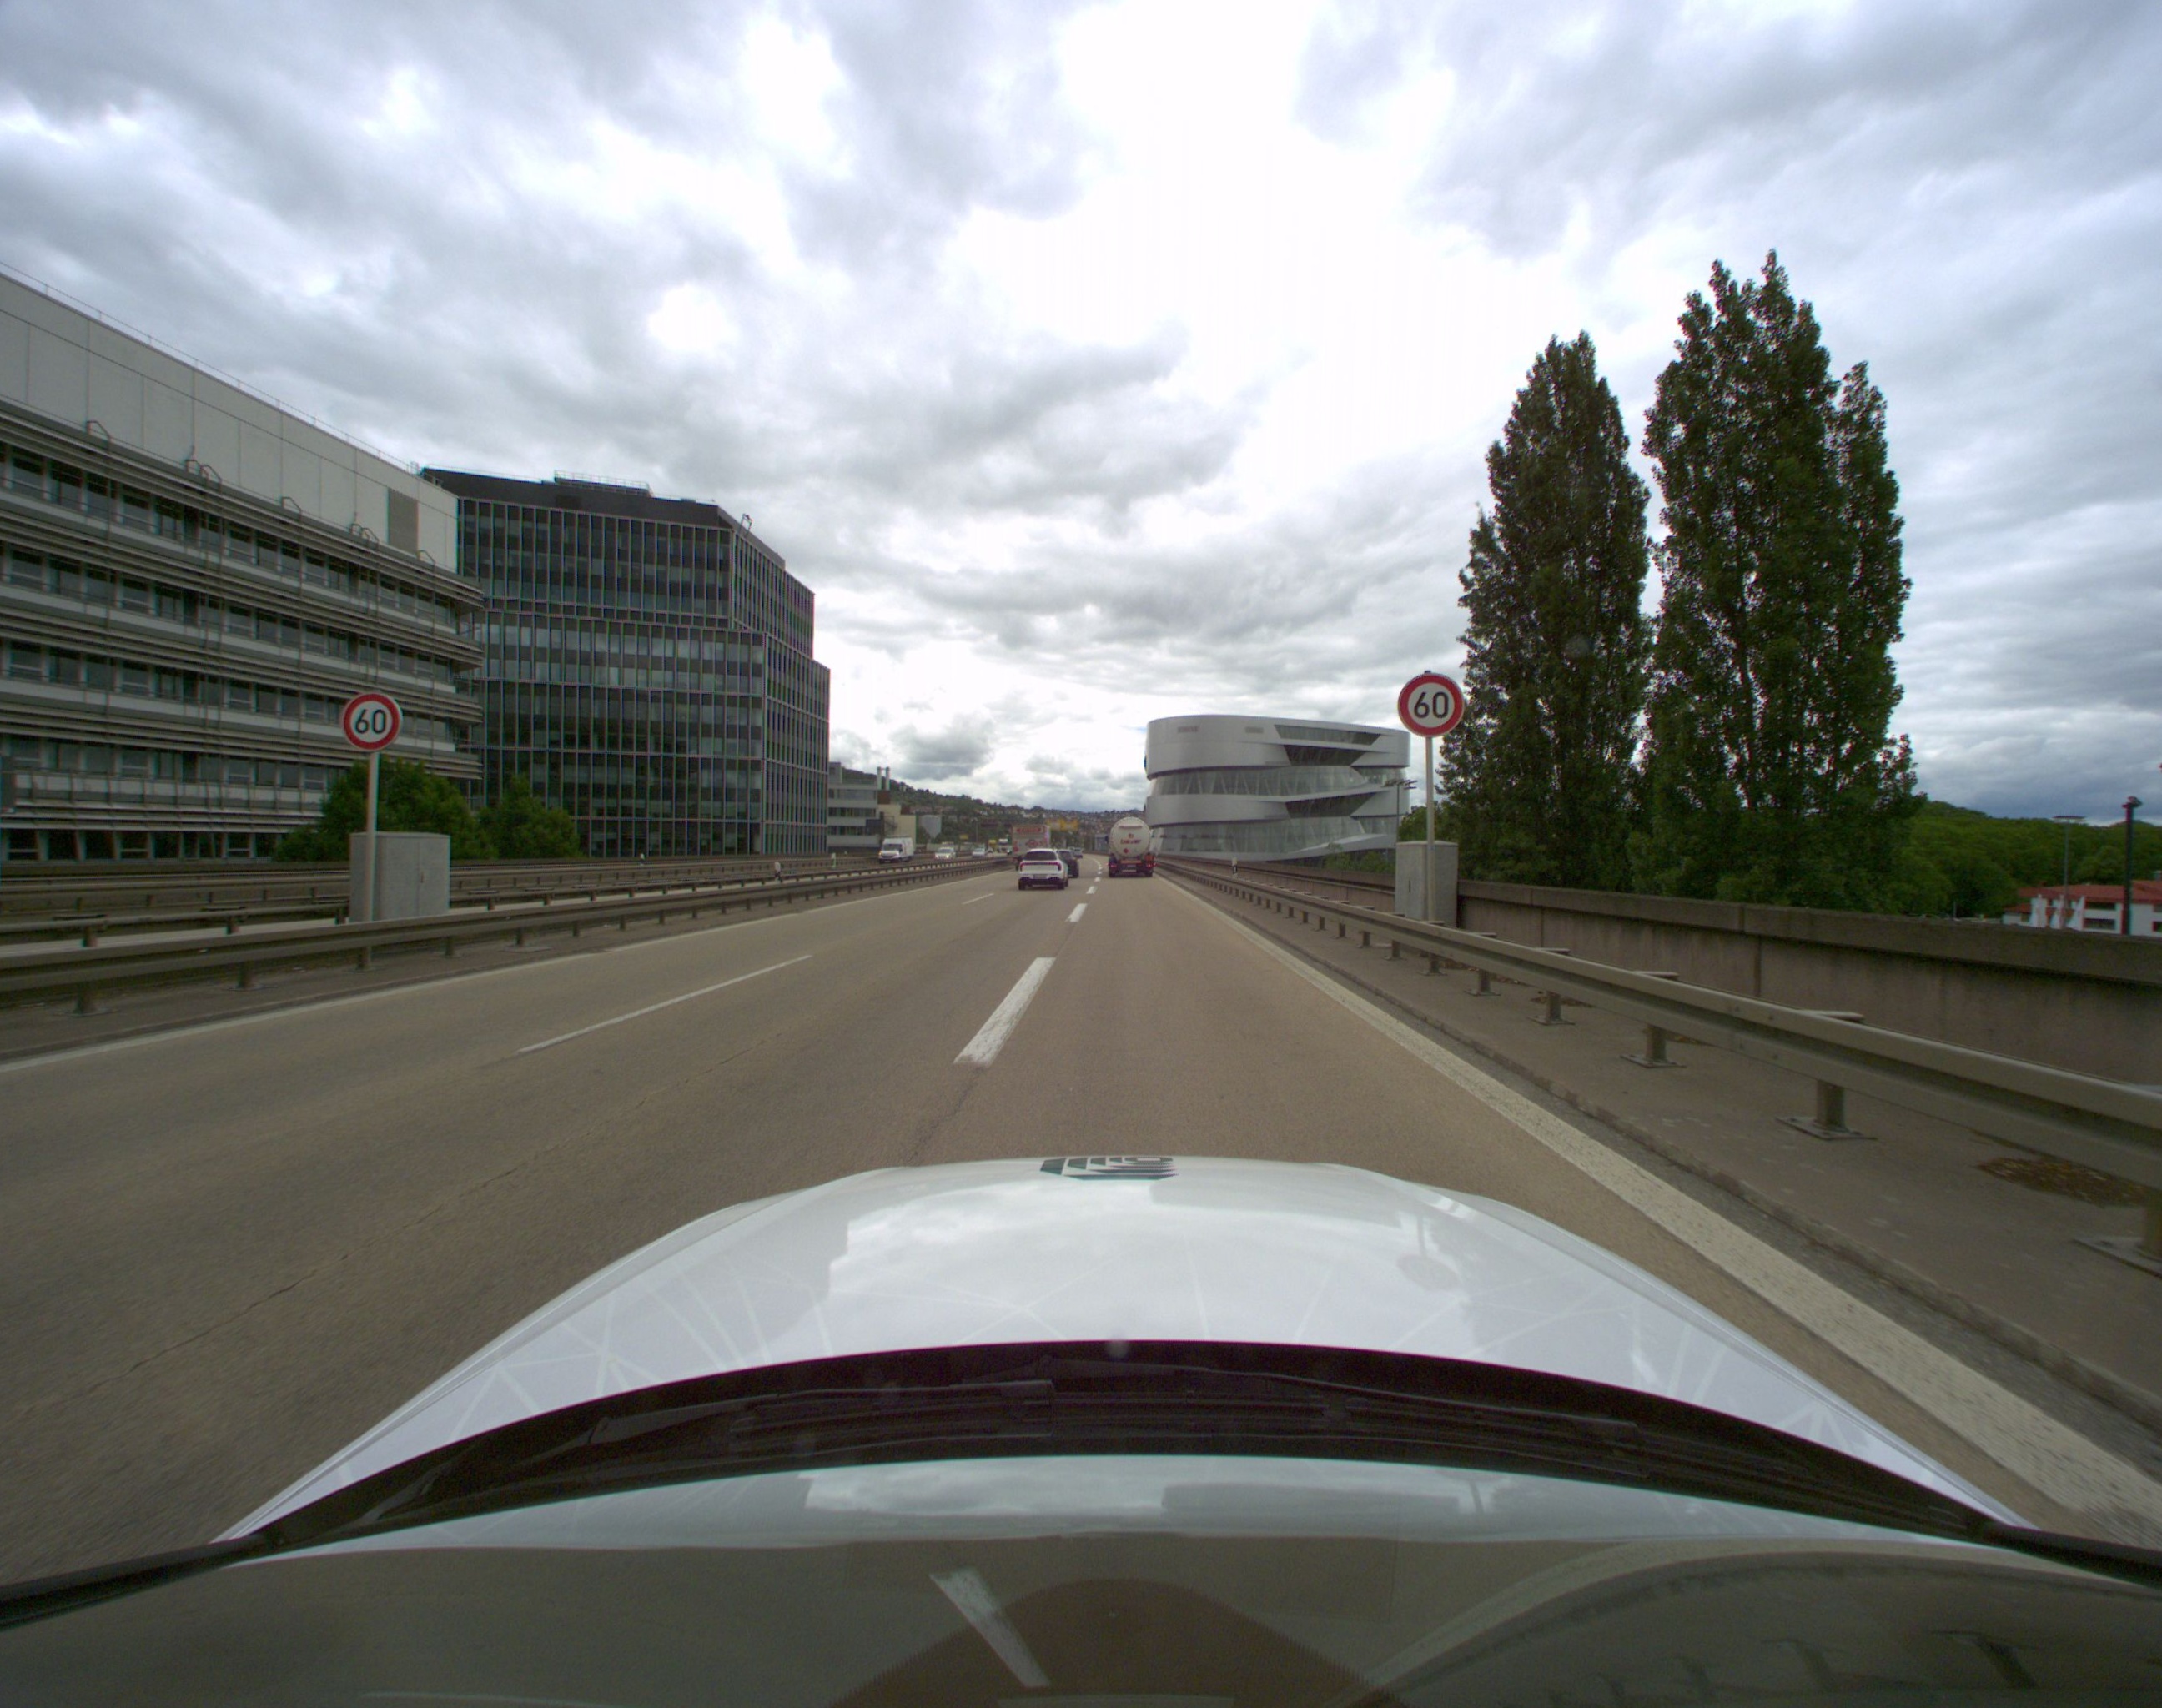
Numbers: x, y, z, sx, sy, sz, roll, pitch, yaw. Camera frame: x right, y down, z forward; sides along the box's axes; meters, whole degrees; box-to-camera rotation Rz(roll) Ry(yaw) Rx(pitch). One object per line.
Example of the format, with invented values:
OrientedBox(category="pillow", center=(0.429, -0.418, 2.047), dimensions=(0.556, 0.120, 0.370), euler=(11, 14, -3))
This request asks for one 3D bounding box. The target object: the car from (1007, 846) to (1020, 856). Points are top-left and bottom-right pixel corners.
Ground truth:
OrientedBox(category="car", center=(-11.710, -0.456, 141.174), dimensions=(1.755, 1.650, 4.337), euler=(2, 0, 2))

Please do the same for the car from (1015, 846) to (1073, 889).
OrientedBox(category="car", center=(-1.491, 0.564, 34.296), dimensions=(1.985, 1.675, 4.412), euler=(-1, 0, 3))

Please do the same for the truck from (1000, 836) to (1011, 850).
OrientedBox(category="truck", center=(-22.106, -3.174, 238.385), dimensions=(2.765, 4.079, 5.641), euler=(-1, 0, -2))

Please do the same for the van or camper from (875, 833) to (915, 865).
OrientedBox(category="van or camper", center=(-18.352, -0.527, 80.706), dimensions=(2.163, 3.008, 7.119), euler=(-1, 0, 1))

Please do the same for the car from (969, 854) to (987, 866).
OrientedBox(category="car", center=(-14.569, 0.825, 115.119), dimensions=(1.676, 1.650, 4.451), euler=(1, 0, 3))

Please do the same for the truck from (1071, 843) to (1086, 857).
OrientedBox(category="truck", center=(-0.419, -0.636, 137.272), dimensions=(2.247, 2.164, 5.071), euler=(-1, 0, 2))

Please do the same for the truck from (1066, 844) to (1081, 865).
OrientedBox(category="truck", center=(-1.669, 0.184, 179.193), dimensions=(3.049, 4.562, 8.296), euler=(-1, 0, -2))

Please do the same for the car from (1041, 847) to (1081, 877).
OrientedBox(category="car", center=(-1.123, 0.452, 47.473), dimensions=(1.985, 1.675, 4.412), euler=(-1, 0, 3))

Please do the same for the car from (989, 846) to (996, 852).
OrientedBox(category="car", center=(-25.439, -1.525, 235.319), dimensions=(1.678, 1.650, 4.356), euler=(1, 0, -2))

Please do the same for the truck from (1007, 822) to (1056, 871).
OrientedBox(category="truck", center=(-3.894, -0.568, 66.187), dimensions=(3.044, 3.690, 8.310), euler=(-1, 0, 3))

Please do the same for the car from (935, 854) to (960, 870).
OrientedBox(category="car", center=(-13.941, 0.802, 85.302), dimensions=(1.676, 1.650, 4.315), euler=(1, 0, 3))

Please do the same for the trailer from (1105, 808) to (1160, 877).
OrientedBox(category="trailer", center=(3.085, -0.616, 49.262), dimensions=(3.044, 3.790, 8.310), euler=(-1, 0, 3))

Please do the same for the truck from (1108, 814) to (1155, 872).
OrientedBox(category="truck", center=(3.430, -0.692, 55.757), dimensions=(3.002, 3.657, 6.278), euler=(-1, 0, 3))
